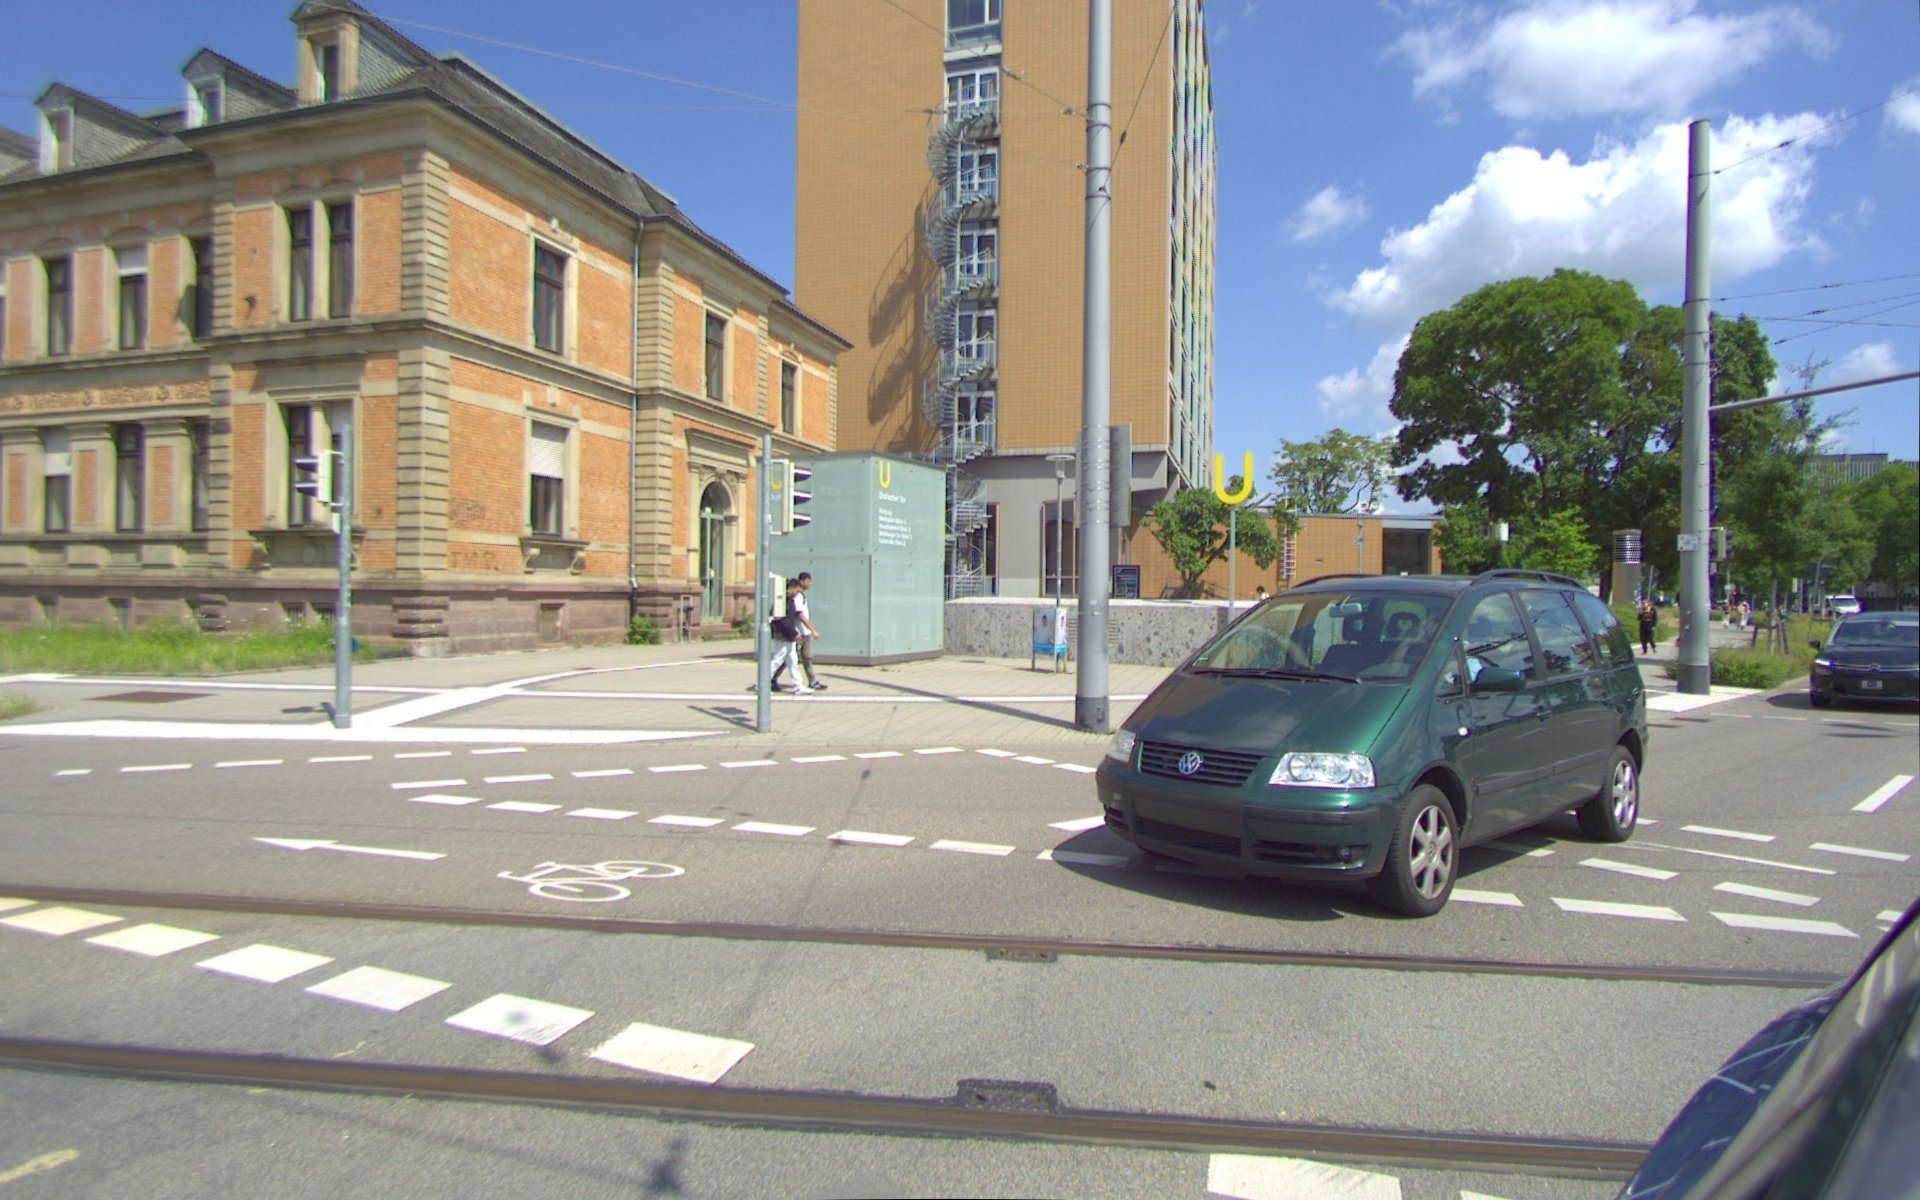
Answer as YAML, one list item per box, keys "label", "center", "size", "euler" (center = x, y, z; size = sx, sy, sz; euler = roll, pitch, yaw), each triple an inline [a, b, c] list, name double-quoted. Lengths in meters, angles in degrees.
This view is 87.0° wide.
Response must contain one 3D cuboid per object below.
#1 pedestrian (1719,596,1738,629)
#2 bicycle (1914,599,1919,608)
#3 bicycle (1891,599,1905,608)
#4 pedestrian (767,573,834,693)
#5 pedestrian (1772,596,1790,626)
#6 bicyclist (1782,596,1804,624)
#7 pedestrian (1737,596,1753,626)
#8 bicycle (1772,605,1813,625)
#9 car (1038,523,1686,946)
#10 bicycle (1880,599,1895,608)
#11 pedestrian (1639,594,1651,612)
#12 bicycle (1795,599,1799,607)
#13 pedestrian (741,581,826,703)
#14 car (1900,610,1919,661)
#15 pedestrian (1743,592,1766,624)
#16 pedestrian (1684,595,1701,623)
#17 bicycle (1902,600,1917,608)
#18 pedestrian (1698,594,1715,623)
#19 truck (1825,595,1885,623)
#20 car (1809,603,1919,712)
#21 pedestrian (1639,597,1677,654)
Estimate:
- label: "pedestrian"
  center: [43.618, 0.716, 57.415]
  size: [0.752, 1.844, 0.631]
  euler: [-1, 0, 30]
- label: "bicycle"
  center: [113.876, 0.450, 119.797]
  size: [0.391, 1.056, 1.759]
  euler: [0, 0, 6]
- label: "bicycle"
  center: [114.333, 0.436, 123.300]
  size: [0.391, 1.056, 1.580]
  euler: [0, 0, 7]
- label: "pedestrian"
  center: [-2.467, 0.487, 15.681]
  size: [0.746, 1.773, 0.861]
  euler: [2, 2, 13]
- label: "pedestrian"
  center: [45.692, 0.613, 56.319]
  size: [0.762, 1.645, 0.651]
  euler: [-1, 3, -45]
- label: "bicyclist"
  center: [50.405, 0.616, 61.242]
  size: [0.823, 1.621, 0.574]
  euler: [3, 2, 29]
- label: "pedestrian"
  center: [44.241, 0.631, 57.016]
  size: [0.584, 1.646, 0.720]
  euler: [-1, 0, 30]
- label: "bicycle"
  center: [50.393, 0.900, 61.254]
  size: [1.800, 1.062, 0.586]
  euler: [3, 3, 29]
- label: "car"
  center: [2.691, 0.631, 6.274]
  size: [4.366, 1.745, 1.798]
  euler: [2, -3, -39]
- label: "bicycle"
  center: [114.554, 0.424, 125.037]
  size: [0.391, 1.056, 1.758]
  euler: [0, 0, 7]
- label: "pedestrian"
  center: [69.540, 0.291, 102.717]
  size: [0.741, 1.800, 0.877]
  euler: [2, 0, 16]
- label: "bicycle"
  center: [117.358, 0.449, 141.852]
  size: [0.381, 1.121, 1.644]
  euler: [0, 0, 42]
- label: "pedestrian"
  center: [-2.571, 0.583, 14.821]
  size: [0.952, 1.677, 0.861]
  euler: [2, 2, 13]
- label: "car"
  center: [29.965, 1.043, 30.866]
  size: [1.761, 1.436, 4.294]
  euler: [-2, -1, 44]
- label: "pedestrian"
  center: [47.377, 0.456, 60.354]
  size: [0.750, 1.843, 0.774]
  euler: [4, 2, 24]
- label: "pedestrian"
  center: [47.355, 0.559, 65.408]
  size: [0.745, 1.774, 0.603]
  euler: [2, 0, 29]
- label: "bicycle"
  center: [114.111, 0.481, 121.605]
  size: [0.391, 1.016, 1.758]
  euler: [0, 0, 7]
- label: "pedestrian"
  center: [48.132, 0.570, 65.231]
  size: [0.745, 1.825, 0.603]
  euler: [2, 0, 29]
- label: "truck"
  center: [78.102, 0.744, 88.412]
  size: [2.440, 2.330, 5.760]
  euler: [-2, -1, 27]
- label: "car"
  center: [16.430, 0.911, 17.677]
  size: [4.444, 1.643, 1.860]
  euler: [-1, -1, -43]
- label: "pedestrian"
  center: [20.423, 0.732, 29.615]
  size: [0.749, 1.609, 0.756]
  euler: [-1, 0, -45]
